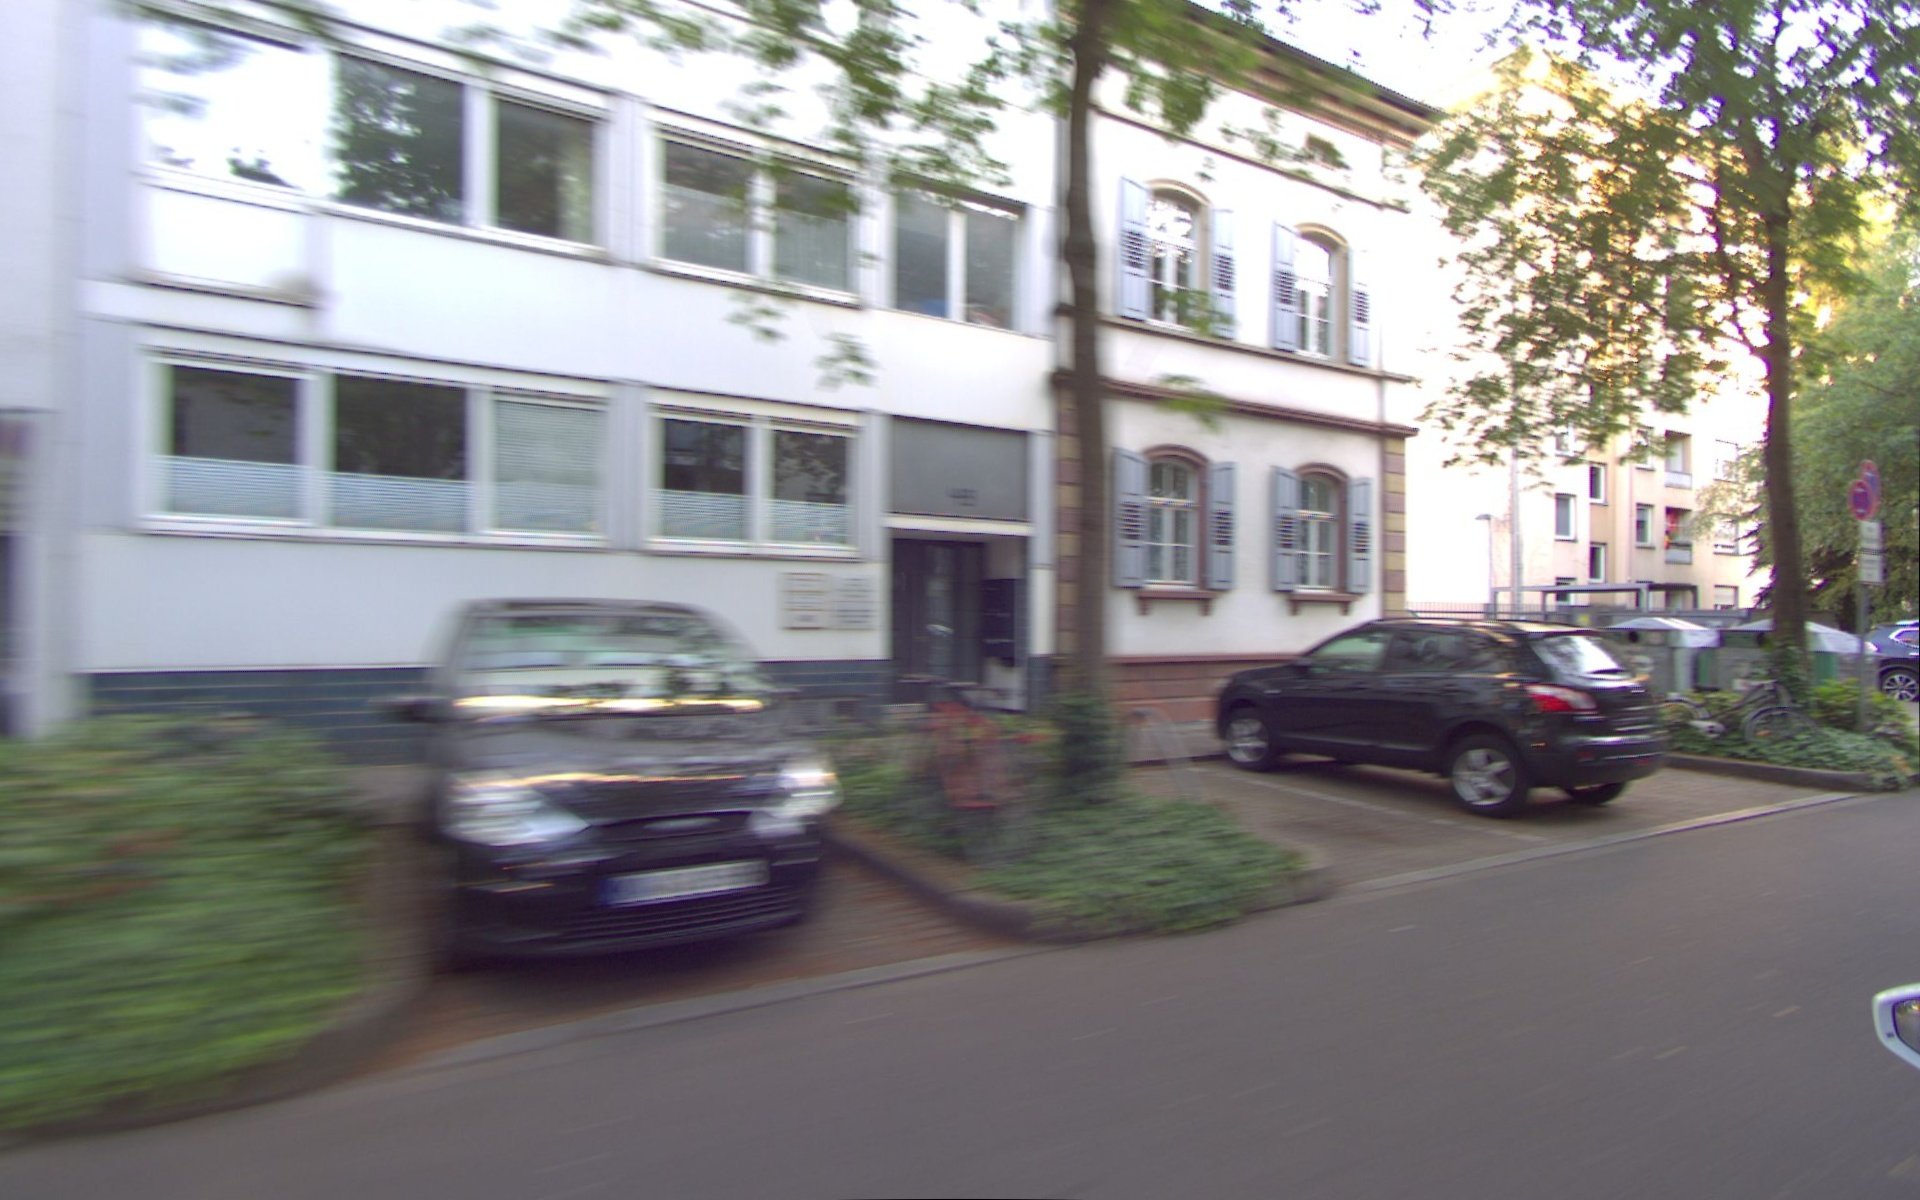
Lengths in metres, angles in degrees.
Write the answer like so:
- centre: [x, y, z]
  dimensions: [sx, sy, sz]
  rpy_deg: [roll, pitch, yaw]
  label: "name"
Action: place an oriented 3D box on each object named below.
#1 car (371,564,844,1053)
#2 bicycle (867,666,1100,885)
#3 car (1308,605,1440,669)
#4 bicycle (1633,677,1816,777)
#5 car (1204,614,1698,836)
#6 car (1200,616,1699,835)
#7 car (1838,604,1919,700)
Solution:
- centre: [-2.393, 0.797, 5.859]
  dimensions: [1.604, 1.705, 4.509]
  rpy_deg: [1, -2, -33]
  label: "car"
- centre: [0.060, 0.946, 6.011]
  dimensions: [0.474, 1.038, 1.892]
  rpy_deg: [1, -2, -31]
  label: "bicycle"
- centre: [13.785, 1.167, 33.391]
  dimensions: [4.364, 1.982, 1.773]
  rpy_deg: [0, 0, -31]
  label: "car"
- centre: [8.245, 1.347, 10.893]
  dimensions: [1.536, 0.949, 0.482]
  rpy_deg: [-1, -2, 38]
  label: "bicycle"
- centre: [4.388, 0.965, 9.613]
  dimensions: [1.768, 1.613, 3.968]
  rpy_deg: [1, -1, -30]
  label: "car"
- centre: [4.379, 0.965, 9.596]
  dimensions: [1.807, 1.609, 3.966]
  rpy_deg: [1, -1, -32]
  label: "car"
- centre: [20.520, 1.052, 19.843]
  dimensions: [1.976, 1.917, 4.397]
  rpy_deg: [1, -1, -30]
  label: "car"
